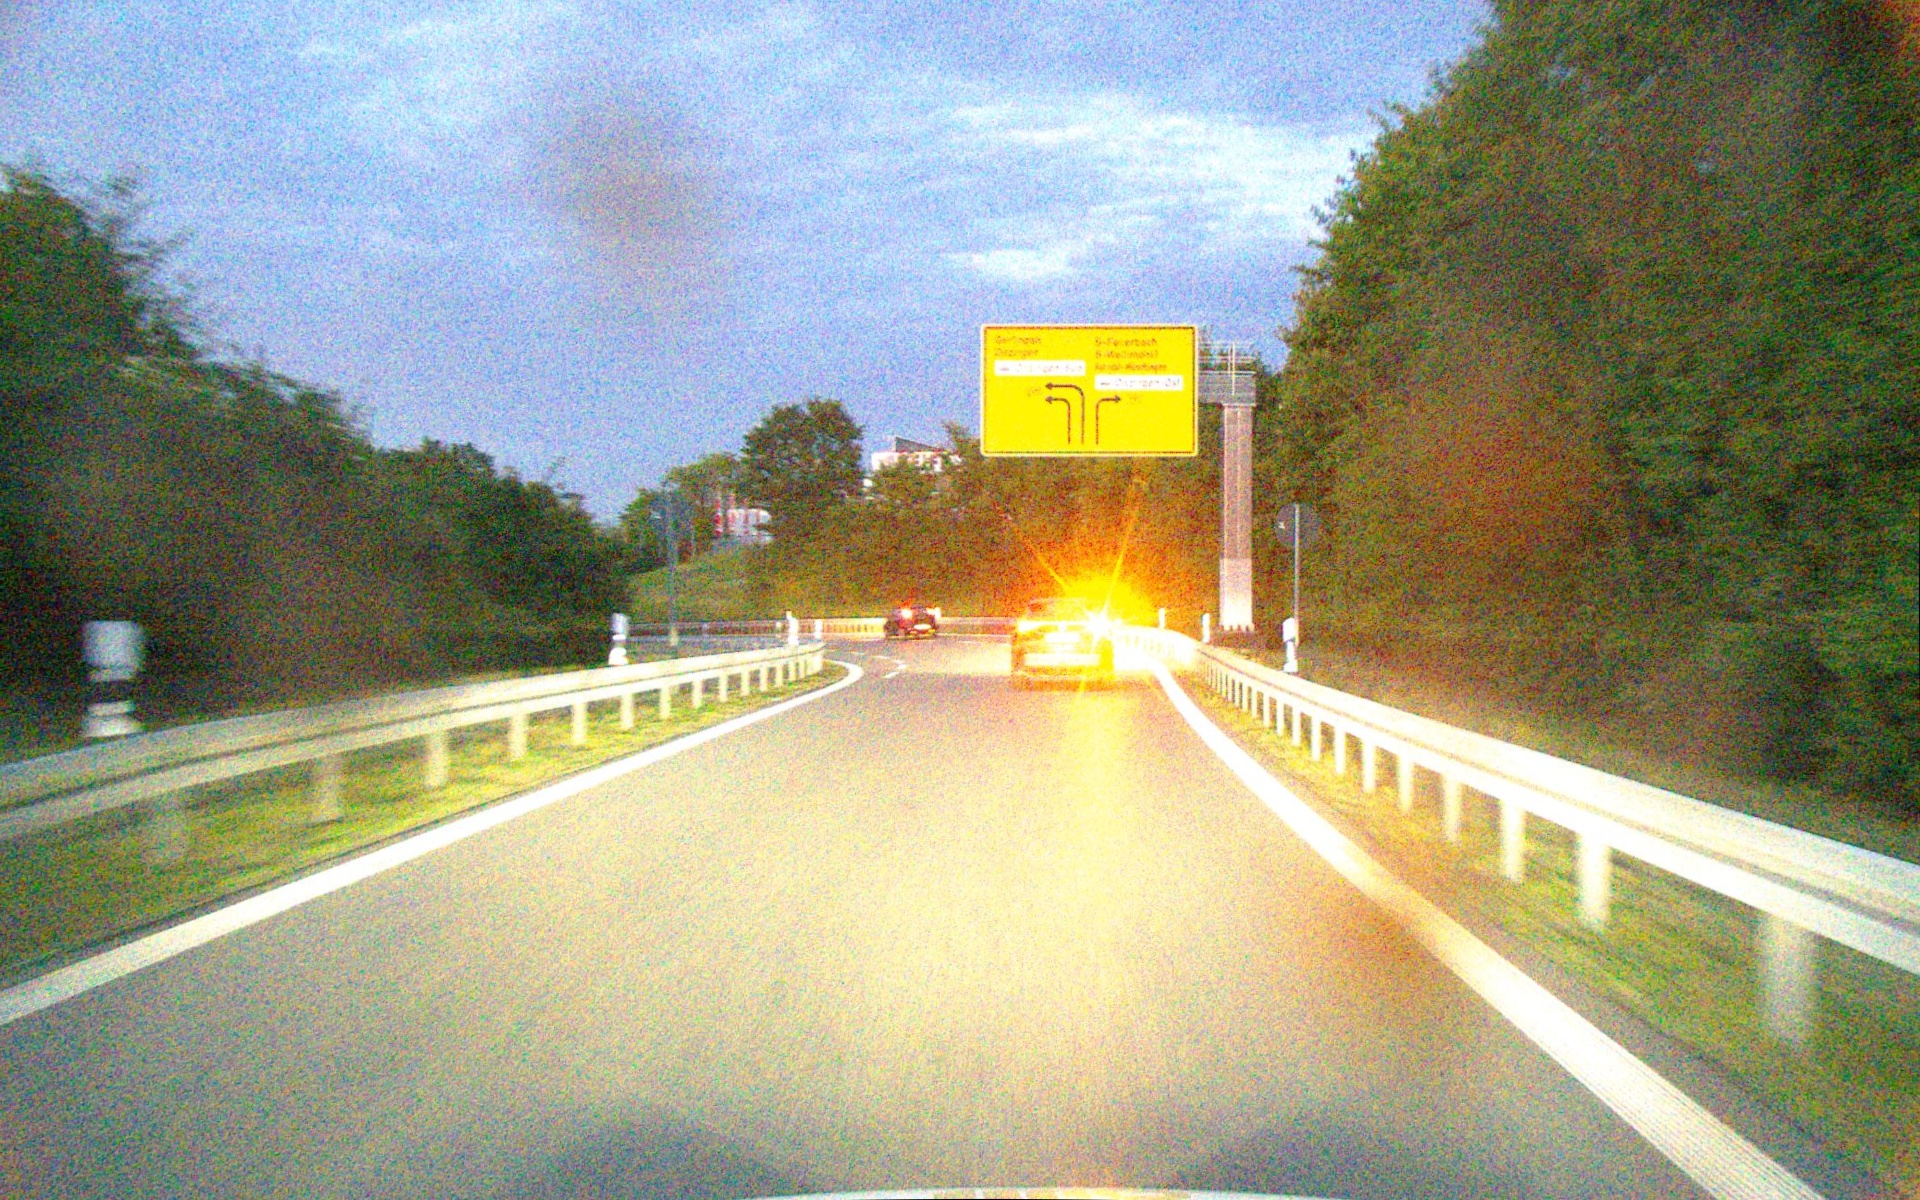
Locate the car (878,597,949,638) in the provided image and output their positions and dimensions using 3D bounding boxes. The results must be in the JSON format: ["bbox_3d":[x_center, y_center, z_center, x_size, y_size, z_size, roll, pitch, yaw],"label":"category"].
[{"bbox_3d":[-2.125,0.764,73.907,1.965,1.626,3.976,3,0,-21],"label":"car"}]

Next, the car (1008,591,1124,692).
[{"bbox_3d":[1.987,0.697,30.219,1.951,1.688,4.317,-1,0,5],"label":"car"}]
